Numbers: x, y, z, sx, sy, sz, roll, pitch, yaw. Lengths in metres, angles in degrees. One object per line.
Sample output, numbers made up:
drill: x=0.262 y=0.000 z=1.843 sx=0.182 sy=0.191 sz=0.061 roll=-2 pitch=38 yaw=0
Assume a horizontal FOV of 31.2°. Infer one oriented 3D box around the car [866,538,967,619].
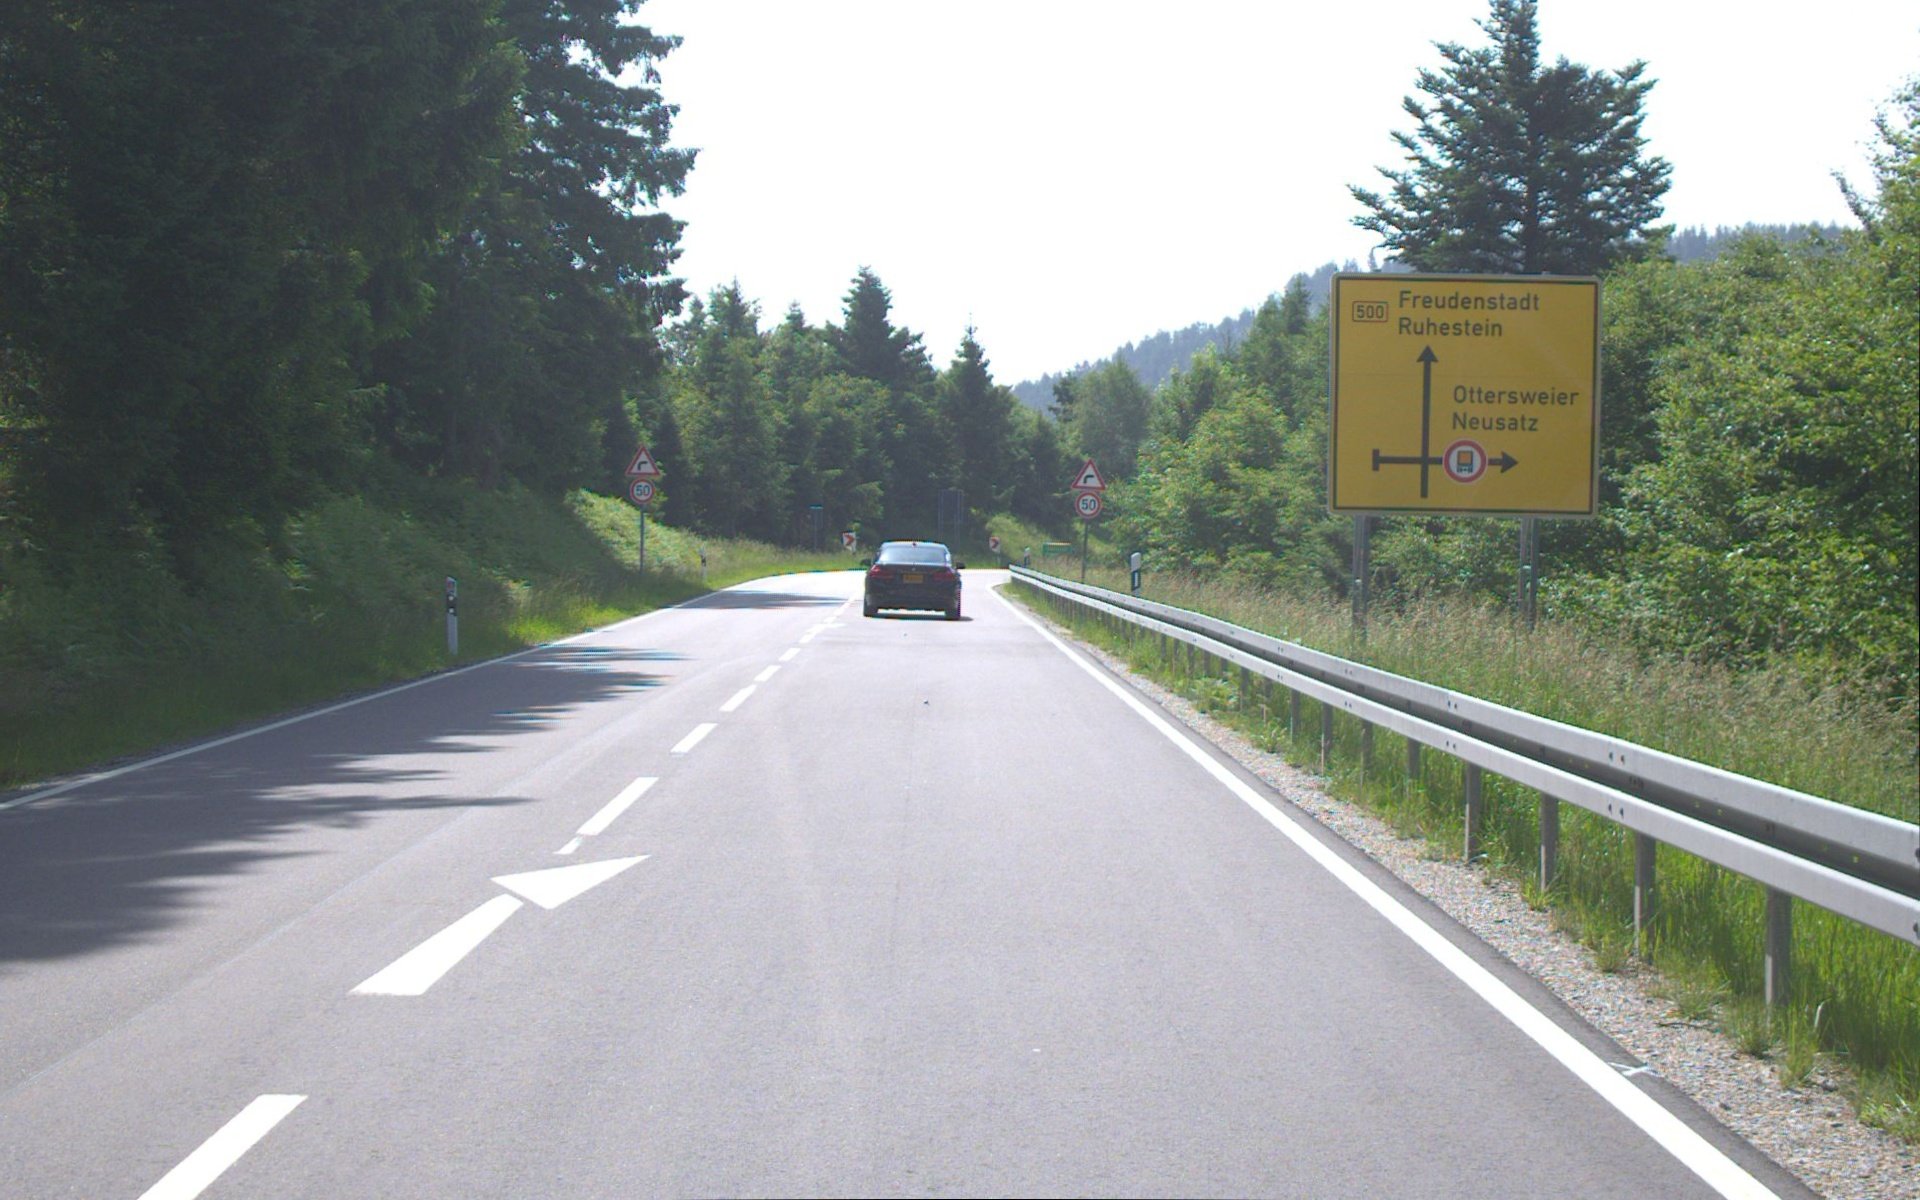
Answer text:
car: x=-0.788 y=-0.418 z=64.327 sx=1.776 sy=1.437 sz=3.709 roll=1 pitch=1 yaw=1
